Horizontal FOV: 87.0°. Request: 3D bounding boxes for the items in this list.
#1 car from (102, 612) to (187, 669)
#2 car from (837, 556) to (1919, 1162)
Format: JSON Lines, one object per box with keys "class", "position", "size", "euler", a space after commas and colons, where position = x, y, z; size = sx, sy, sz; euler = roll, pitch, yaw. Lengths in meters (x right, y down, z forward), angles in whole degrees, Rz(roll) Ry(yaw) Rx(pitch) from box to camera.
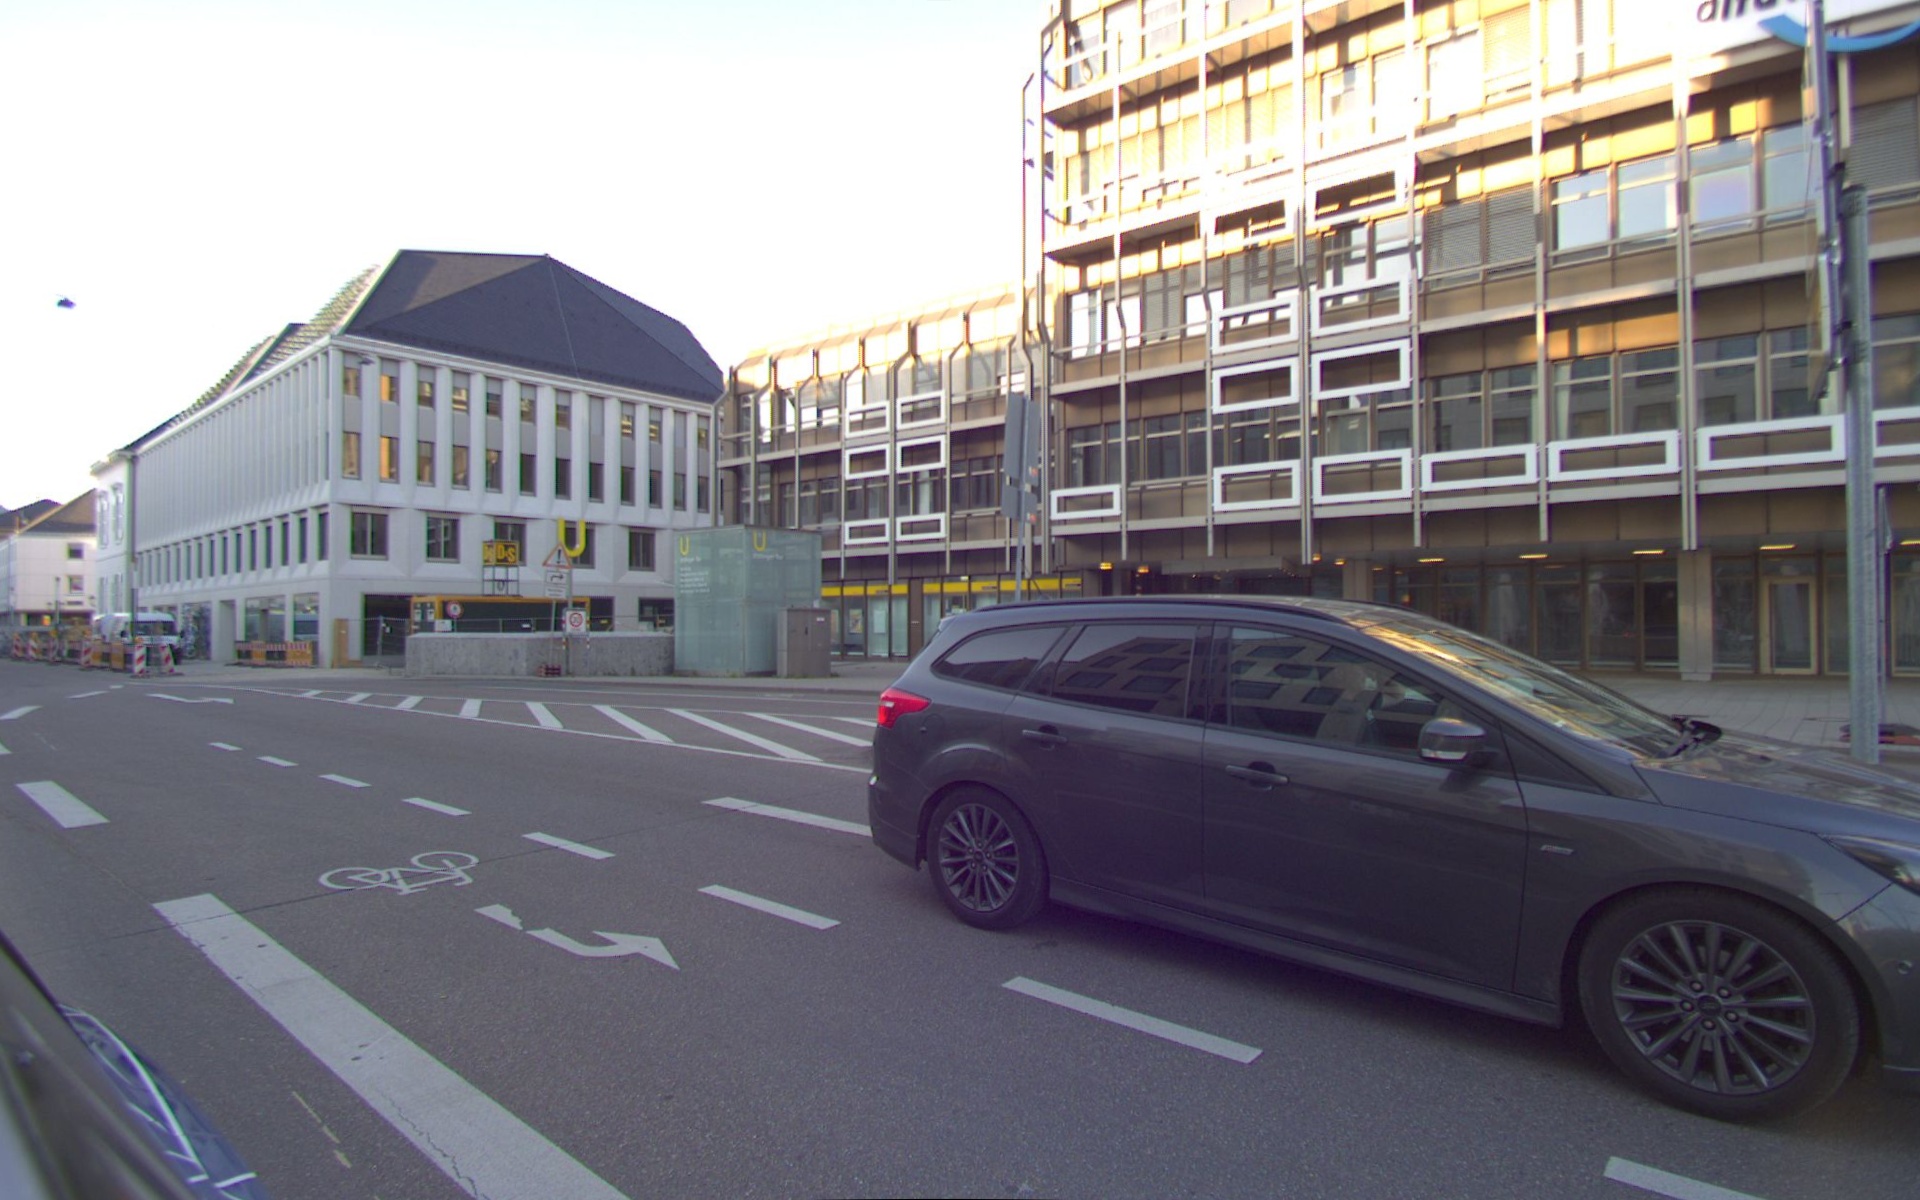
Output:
{"class": "car", "position": [-38.843, 1.906, 48.161], "size": [6.047, 2.575, 2.114], "euler": [-2, -2, 41]}
{"class": "car", "position": [1.632, 0.663, 4.205], "size": [4.377, 1.473, 1.740], "euler": [-2, -1, 40]}
